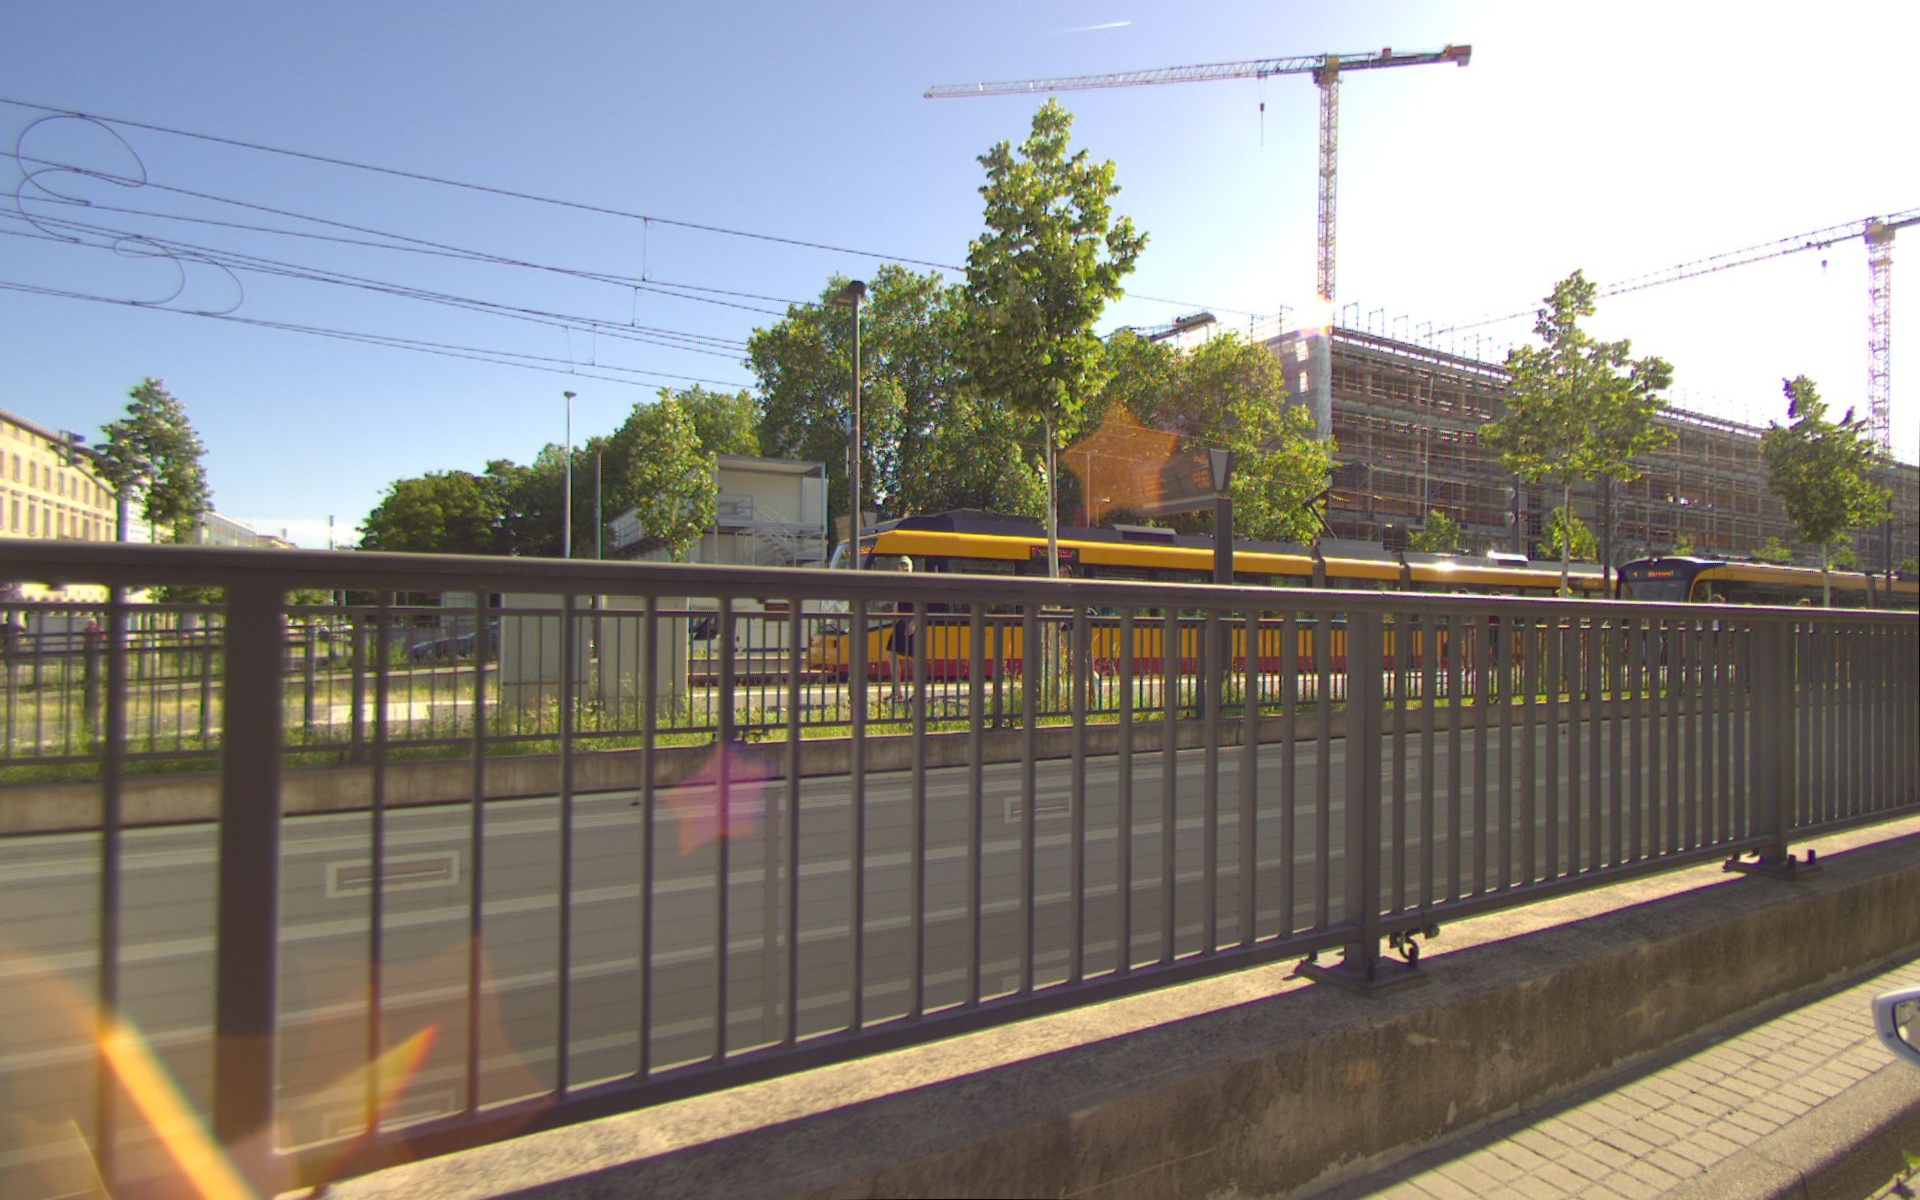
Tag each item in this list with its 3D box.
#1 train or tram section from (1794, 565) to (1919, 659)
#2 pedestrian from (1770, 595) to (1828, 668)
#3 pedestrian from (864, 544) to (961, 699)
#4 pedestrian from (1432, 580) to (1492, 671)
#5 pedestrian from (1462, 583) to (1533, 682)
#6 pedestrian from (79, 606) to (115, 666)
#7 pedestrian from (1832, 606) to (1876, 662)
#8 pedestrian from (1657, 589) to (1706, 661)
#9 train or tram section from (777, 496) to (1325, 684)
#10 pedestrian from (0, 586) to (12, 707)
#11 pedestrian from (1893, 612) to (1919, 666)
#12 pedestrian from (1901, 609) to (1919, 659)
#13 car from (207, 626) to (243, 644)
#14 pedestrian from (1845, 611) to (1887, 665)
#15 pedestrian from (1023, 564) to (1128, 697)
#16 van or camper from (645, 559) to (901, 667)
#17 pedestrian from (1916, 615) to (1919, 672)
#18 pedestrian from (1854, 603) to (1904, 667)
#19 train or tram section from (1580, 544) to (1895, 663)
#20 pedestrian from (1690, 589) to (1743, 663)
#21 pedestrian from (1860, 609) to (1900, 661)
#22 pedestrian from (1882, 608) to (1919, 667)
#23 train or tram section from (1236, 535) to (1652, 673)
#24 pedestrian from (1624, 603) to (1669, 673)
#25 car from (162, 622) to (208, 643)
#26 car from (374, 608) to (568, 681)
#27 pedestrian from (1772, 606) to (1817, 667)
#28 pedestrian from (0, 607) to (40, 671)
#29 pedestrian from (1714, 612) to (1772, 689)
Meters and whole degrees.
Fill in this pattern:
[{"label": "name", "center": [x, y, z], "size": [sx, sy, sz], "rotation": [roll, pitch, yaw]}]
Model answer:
[{"label": "train or tram section", "center": [41.892, 0.628, 42.567], "size": [21.886, 3.323, 2.856], "rotation": [1, 1, -31]}, {"label": "pedestrian", "center": [22.023, 0.831, 26.373], "size": [0.995, 1.875, 0.882], "rotation": [1, -1, -30]}, {"label": "pedestrian", "center": [-0.580, 0.249, 12.276], "size": [0.949, 1.799, 0.699], "rotation": [0, 1, -33]}, {"label": "pedestrian", "center": [10.245, 0.507, 20.499], "size": [0.818, 1.799, 0.757], "rotation": [0, 1, -33]}, {"label": "pedestrian", "center": [10.084, 0.584, 18.854], "size": [0.968, 1.799, 0.786], "rotation": [0, 1, -33]}, {"label": "pedestrian", "center": [-27.023, 1.121, 31.449], "size": [0.687, 1.847, 0.595], "rotation": [0, -1, 23]}, {"label": "pedestrian", "center": [26.637, 1.013, 29.927], "size": [0.851, 1.650, 0.738], "rotation": [1, -1, -29]}, {"label": "pedestrian", "center": [18.744, 0.658, 26.095], "size": [1.062, 1.834, 0.668], "rotation": [1, -1, -31]}, {"label": "train or tram section", "center": [2.594, -0.071, 22.416], "size": [12.921, 3.354, 2.856], "rotation": [1, 1, -31]}, {"label": "pedestrian", "center": [-15.259, 0.712, 15.337], "size": [0.966, 1.847, 0.795], "rotation": [1, -1, -33]}, {"label": "pedestrian", "center": [29.272, 1.190, 30.795], "size": [0.935, 1.650, 0.738], "rotation": [1, -1, -29]}, {"label": "pedestrian", "center": [32.084, 1.123, 33.552], "size": [0.851, 1.650, 0.738], "rotation": [1, -1, -29]}, {"label": "car", "center": [-71.957, 3.415, 98.387], "size": [1.972, 1.622, 3.976], "rotation": [1, -1, -24]}, {"label": "pedestrian", "center": [28.059, 1.170, 31.100], "size": [0.851, 1.650, 0.738], "rotation": [1, -1, -29]}, {"label": "pedestrian", "center": [1.625, 0.406, 14.190], "size": [1.176, 1.799, 0.869], "rotation": [0, 1, -33]}, {"label": "van or camper", "center": [-5.609, 0.444, 30.657], "size": [7.259, 2.976, 2.591], "rotation": [1, -1, -32]}, {"label": "pedestrian", "center": [28.043, 1.255, 28.763], "size": [0.851, 1.650, 0.738], "rotation": [1, -1, -29]}, {"label": "pedestrian", "center": [23.901, 0.904, 26.118], "size": [0.851, 1.650, 0.738], "rotation": [1, -1, -29]}, {"label": "train or tram section", "center": [26.023, 0.224, 33.093], "size": [15.008, 3.323, 2.856], "rotation": [1, 1, -31]}, {"label": "pedestrian", "center": [19.168, 0.652, 25.450], "size": [1.019, 1.834, 0.766], "rotation": [1, -1, -31]}, {"label": "pedestrian", "center": [29.606, 1.129, 32.320], "size": [0.851, 1.650, 0.738], "rotation": [1, -1, -29]}, {"label": "pedestrian", "center": [26.903, 1.073, 28.611], "size": [0.851, 1.650, 0.738], "rotation": [1, -1, -29]}, {"label": "train or tram section", "center": [14.927, 0.242, 29.766], "size": [15.780, 3.366, 2.833], "rotation": [1, 0, -31]}, {"label": "pedestrian", "center": [15.517, 0.841, 22.695], "size": [0.582, 1.533, 0.643], "rotation": [0, 1, -33]}, {"label": "car", "center": [-61.311, 2.529, 79.568], "size": [1.972, 1.622, 3.976], "rotation": [1, -1, -24]}, {"label": "car", "center": [-12.549, 1.114, 25.833], "size": [4.318, 1.730, 1.935], "rotation": [1, -1, -32]}, {"label": "pedestrian", "center": [23.671, 1.028, 28.489], "size": [0.851, 1.717, 0.738], "rotation": [1, -1, -29]}, {"label": "pedestrian", "center": [-27.422, 1.125, 29.297], "size": [0.687, 1.847, 0.595], "rotation": [0, -1, 23]}, {"label": "pedestrian", "center": [17.174, 1.095, 22.039], "size": [0.851, 1.650, 0.738], "rotation": [1, -1, -29]}]
